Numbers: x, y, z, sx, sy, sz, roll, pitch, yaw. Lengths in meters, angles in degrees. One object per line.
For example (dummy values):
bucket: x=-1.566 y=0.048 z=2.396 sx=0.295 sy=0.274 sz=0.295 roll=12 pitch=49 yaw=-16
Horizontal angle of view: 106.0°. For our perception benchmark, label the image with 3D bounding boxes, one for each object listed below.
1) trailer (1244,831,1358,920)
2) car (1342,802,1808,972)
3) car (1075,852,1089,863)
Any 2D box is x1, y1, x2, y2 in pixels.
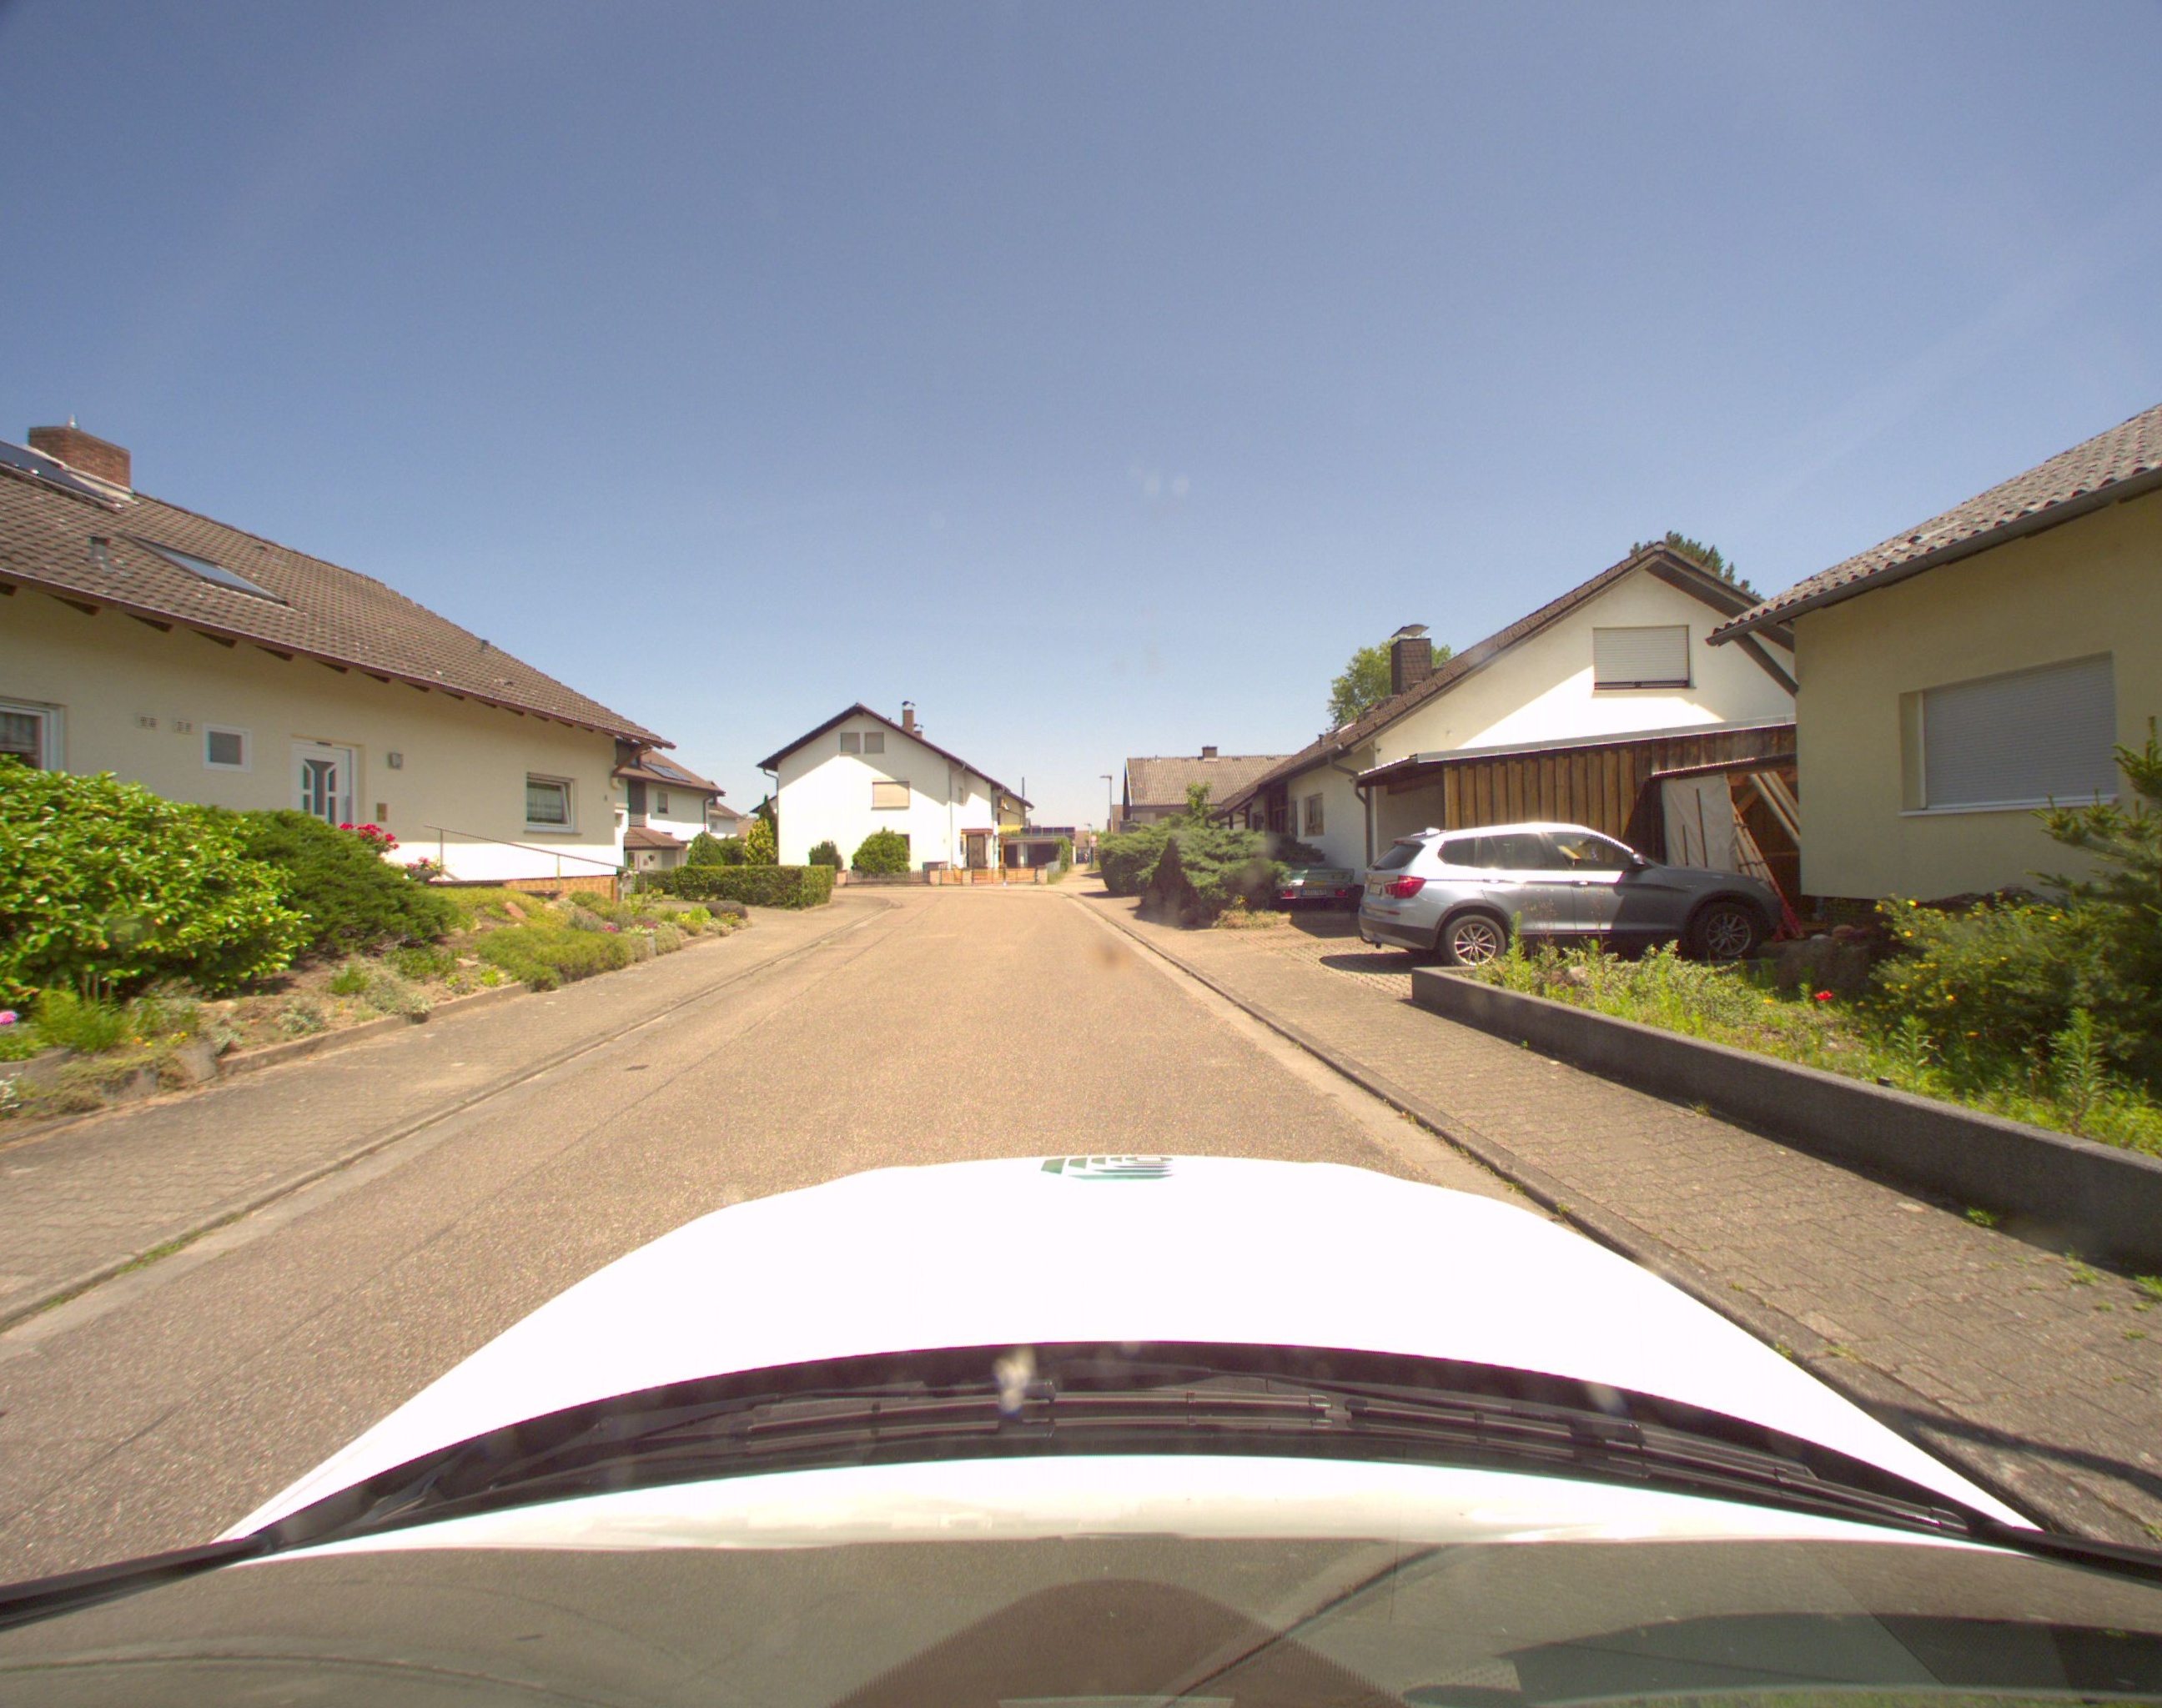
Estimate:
trailer: x=4.650 y=0.411 z=17.638 sx=1.581 sy=1.672 sz=3.298 roll=-3 pitch=0 yaw=2
car: x=5.805 y=0.385 z=10.041 sx=4.607 sy=1.702 sz=1.711 roll=-3 pitch=0 yaw=3
car: x=0.212 y=0.592 z=135.779 sx=2.185 sy=1.701 sz=3.808 roll=-2 pitch=0 yaw=2
